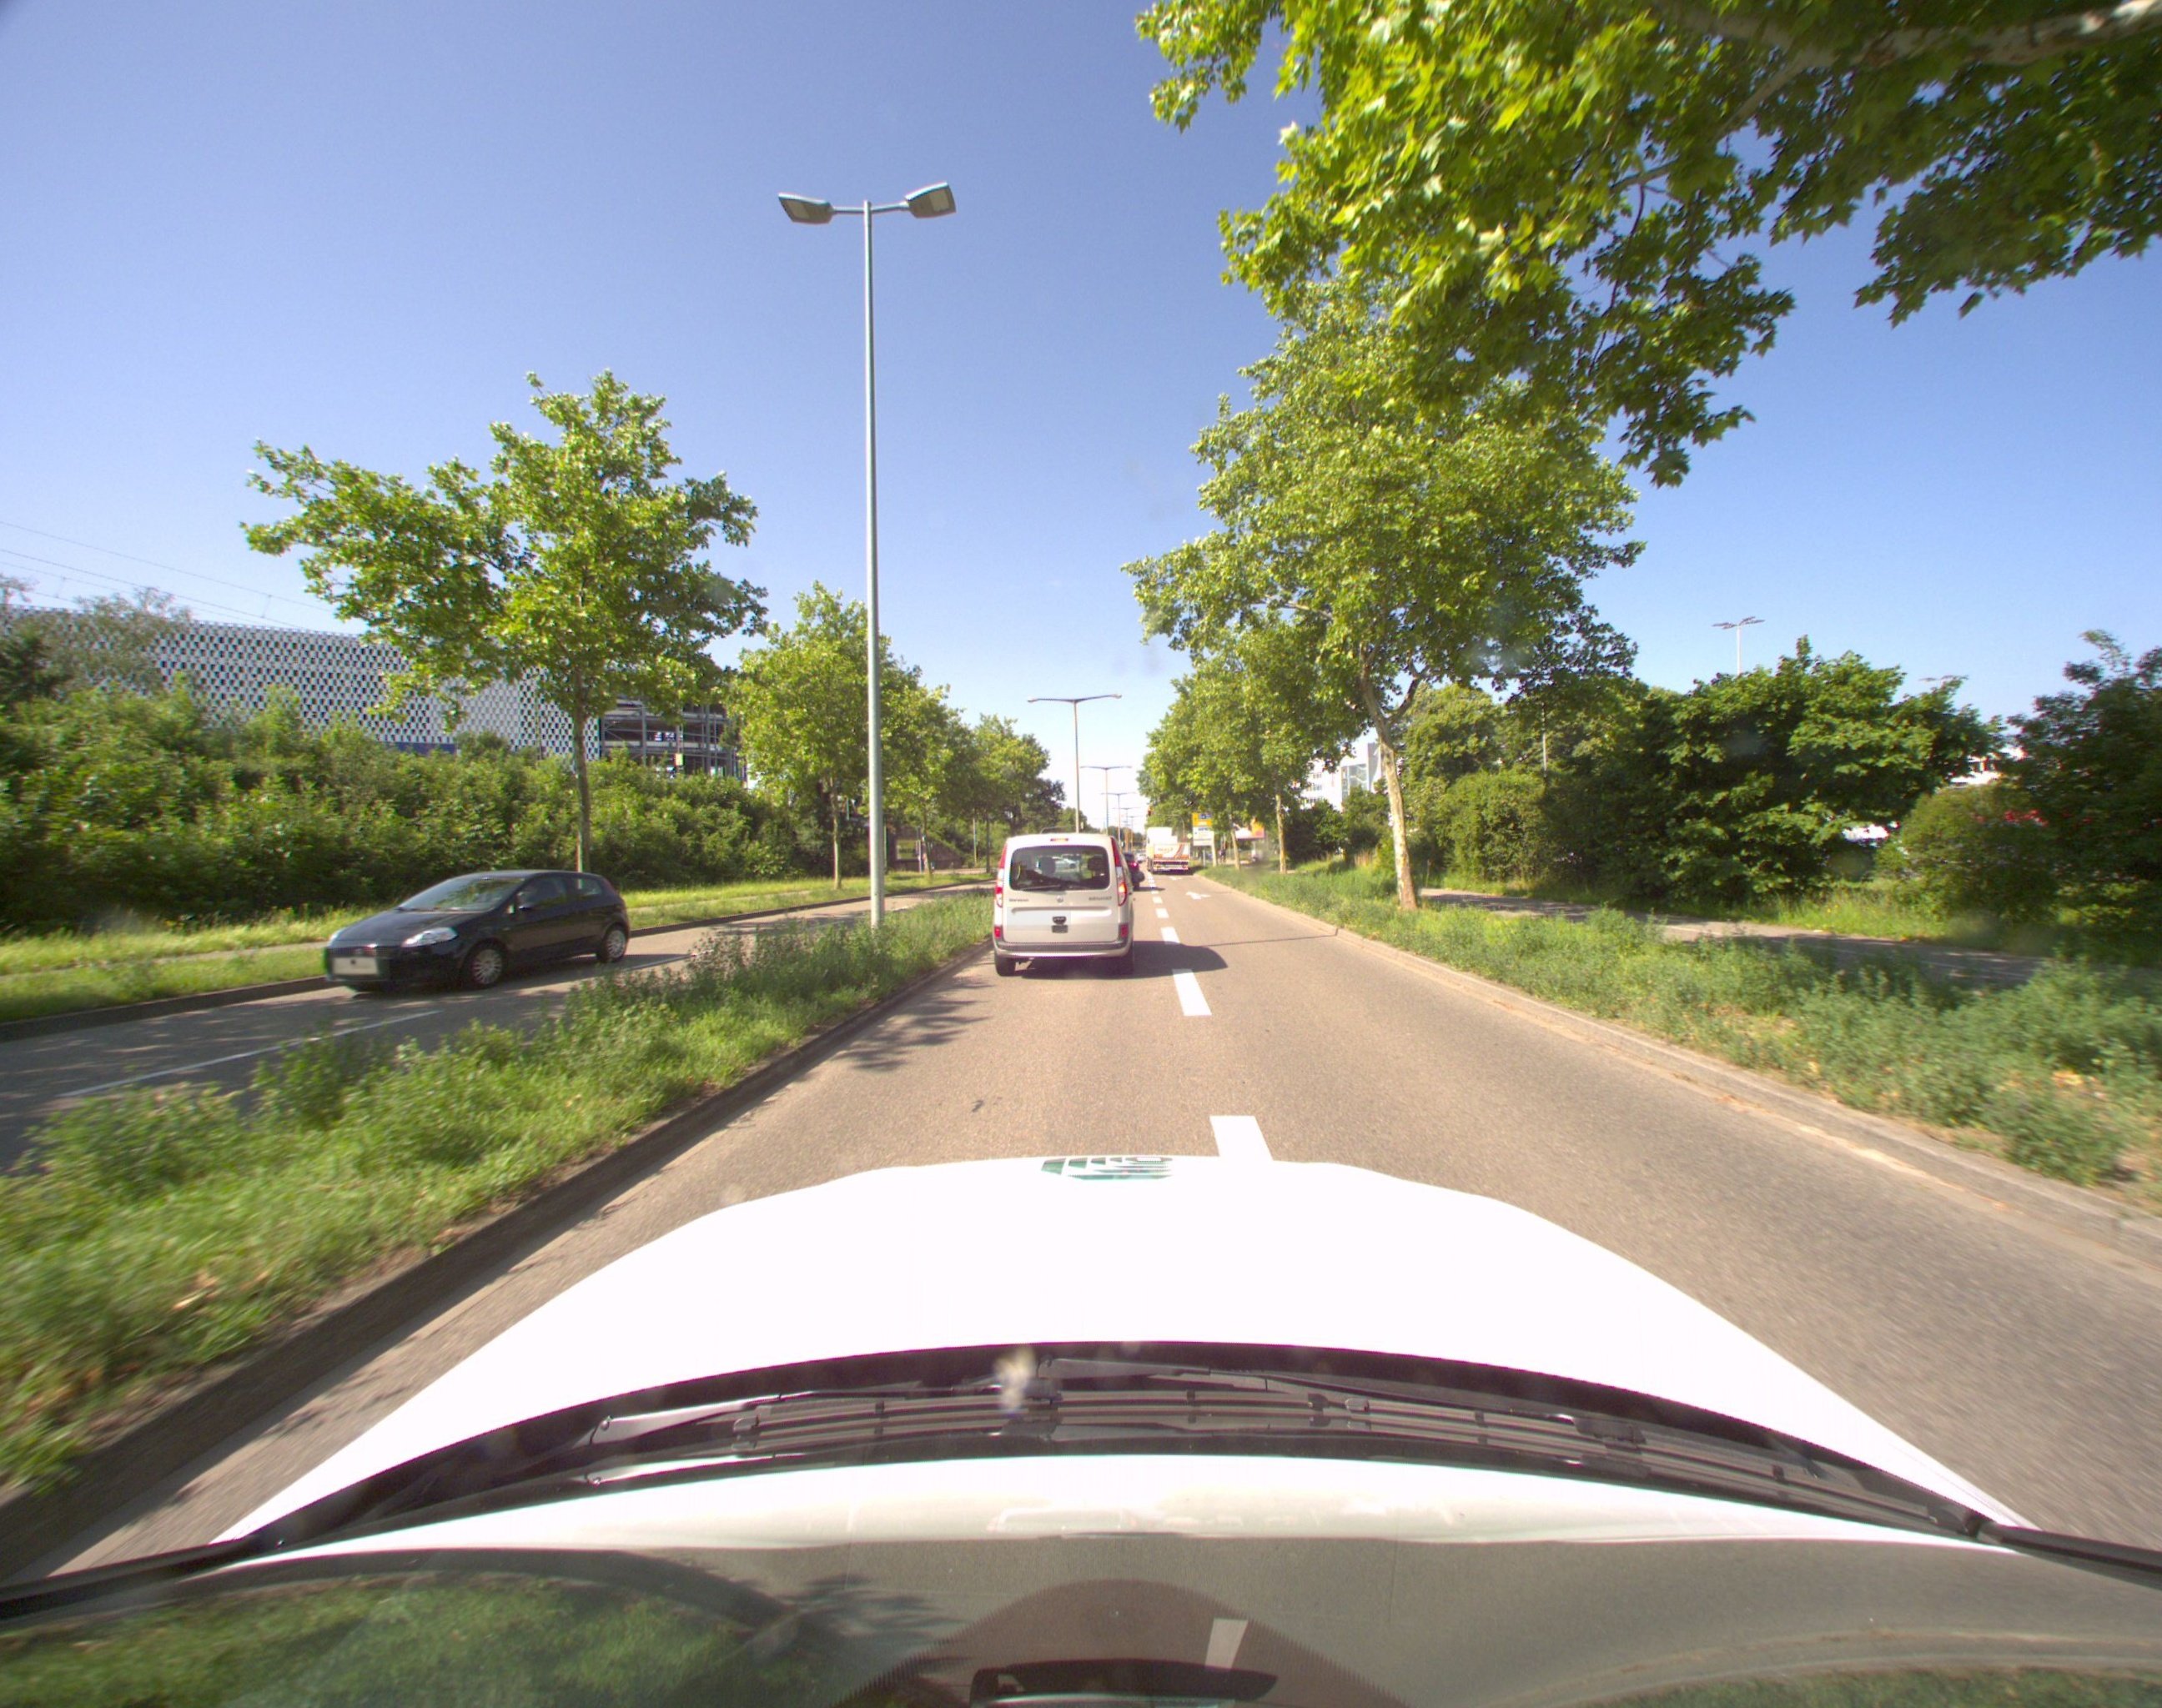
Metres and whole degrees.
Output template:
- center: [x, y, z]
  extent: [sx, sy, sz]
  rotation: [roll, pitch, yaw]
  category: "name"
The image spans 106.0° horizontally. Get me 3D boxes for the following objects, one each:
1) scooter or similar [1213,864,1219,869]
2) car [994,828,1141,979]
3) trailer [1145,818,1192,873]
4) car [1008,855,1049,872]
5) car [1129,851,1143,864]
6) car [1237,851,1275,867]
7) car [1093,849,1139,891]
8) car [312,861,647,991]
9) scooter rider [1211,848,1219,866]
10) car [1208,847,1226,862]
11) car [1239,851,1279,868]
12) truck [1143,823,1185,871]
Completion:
- center: [10.325, 0.959, 62.182]
  extent: [0.377, 0.358, 0.556]
  rotation: [0, -1, 1]
  category: "scooter or similar"
- center: [-0.050, 0.598, 11.579]
  extent: [1.742, 1.772, 3.952]
  rotation: [0, 0, 3]
  category: "car"
- center: [6.433, -0.526, 61.411]
  extent: [3.003, 3.741, 12.252]
  rotation: [0, 0, 4]
  category: "trailer"
- center: [-5.752, 1.062, 89.174]
  extent: [4.007, 1.860, 1.983]
  rotation: [0, -1, -26]
  category: "car"
- center: [8.388, 0.546, 124.130]
  extent: [1.709, 2.014, 3.997]
  rotation: [0, 0, -2]
  category: "car"
- center: [18.856, 0.578, 87.778]
  extent: [3.964, 1.662, 1.727]
  rotation: [0, -1, 9]
  category: "car"
- center: [1.439, 0.652, 34.408]
  extent: [1.803, 1.684, 4.001]
  rotation: [0, 0, 1]
  category: "car"
- center: [-7.948, 0.841, 11.302]
  extent: [1.563, 1.470, 3.930]
  rotation: [0, 0, 3]
  category: "car"
- center: [10.226, 0.215, 62.188]
  extent: [0.495, 1.337, 0.563]
  rotation: [0, -1, 1]
  category: "scooter rider"
- center: [16.022, 0.088, 95.900]
  extent: [1.807, 1.795, 3.448]
  rotation: [0, 0, 5]
  category: "car"
- center: [18.403, 0.553, 84.139]
  extent: [3.964, 1.662, 1.727]
  rotation: [0, -1, 9]
  category: "car"
- center: [6.855, -0.504, 68.007]
  extent: [3.059, 3.758, 7.481]
  rotation: [0, 0, 3]
  category: "truck"
